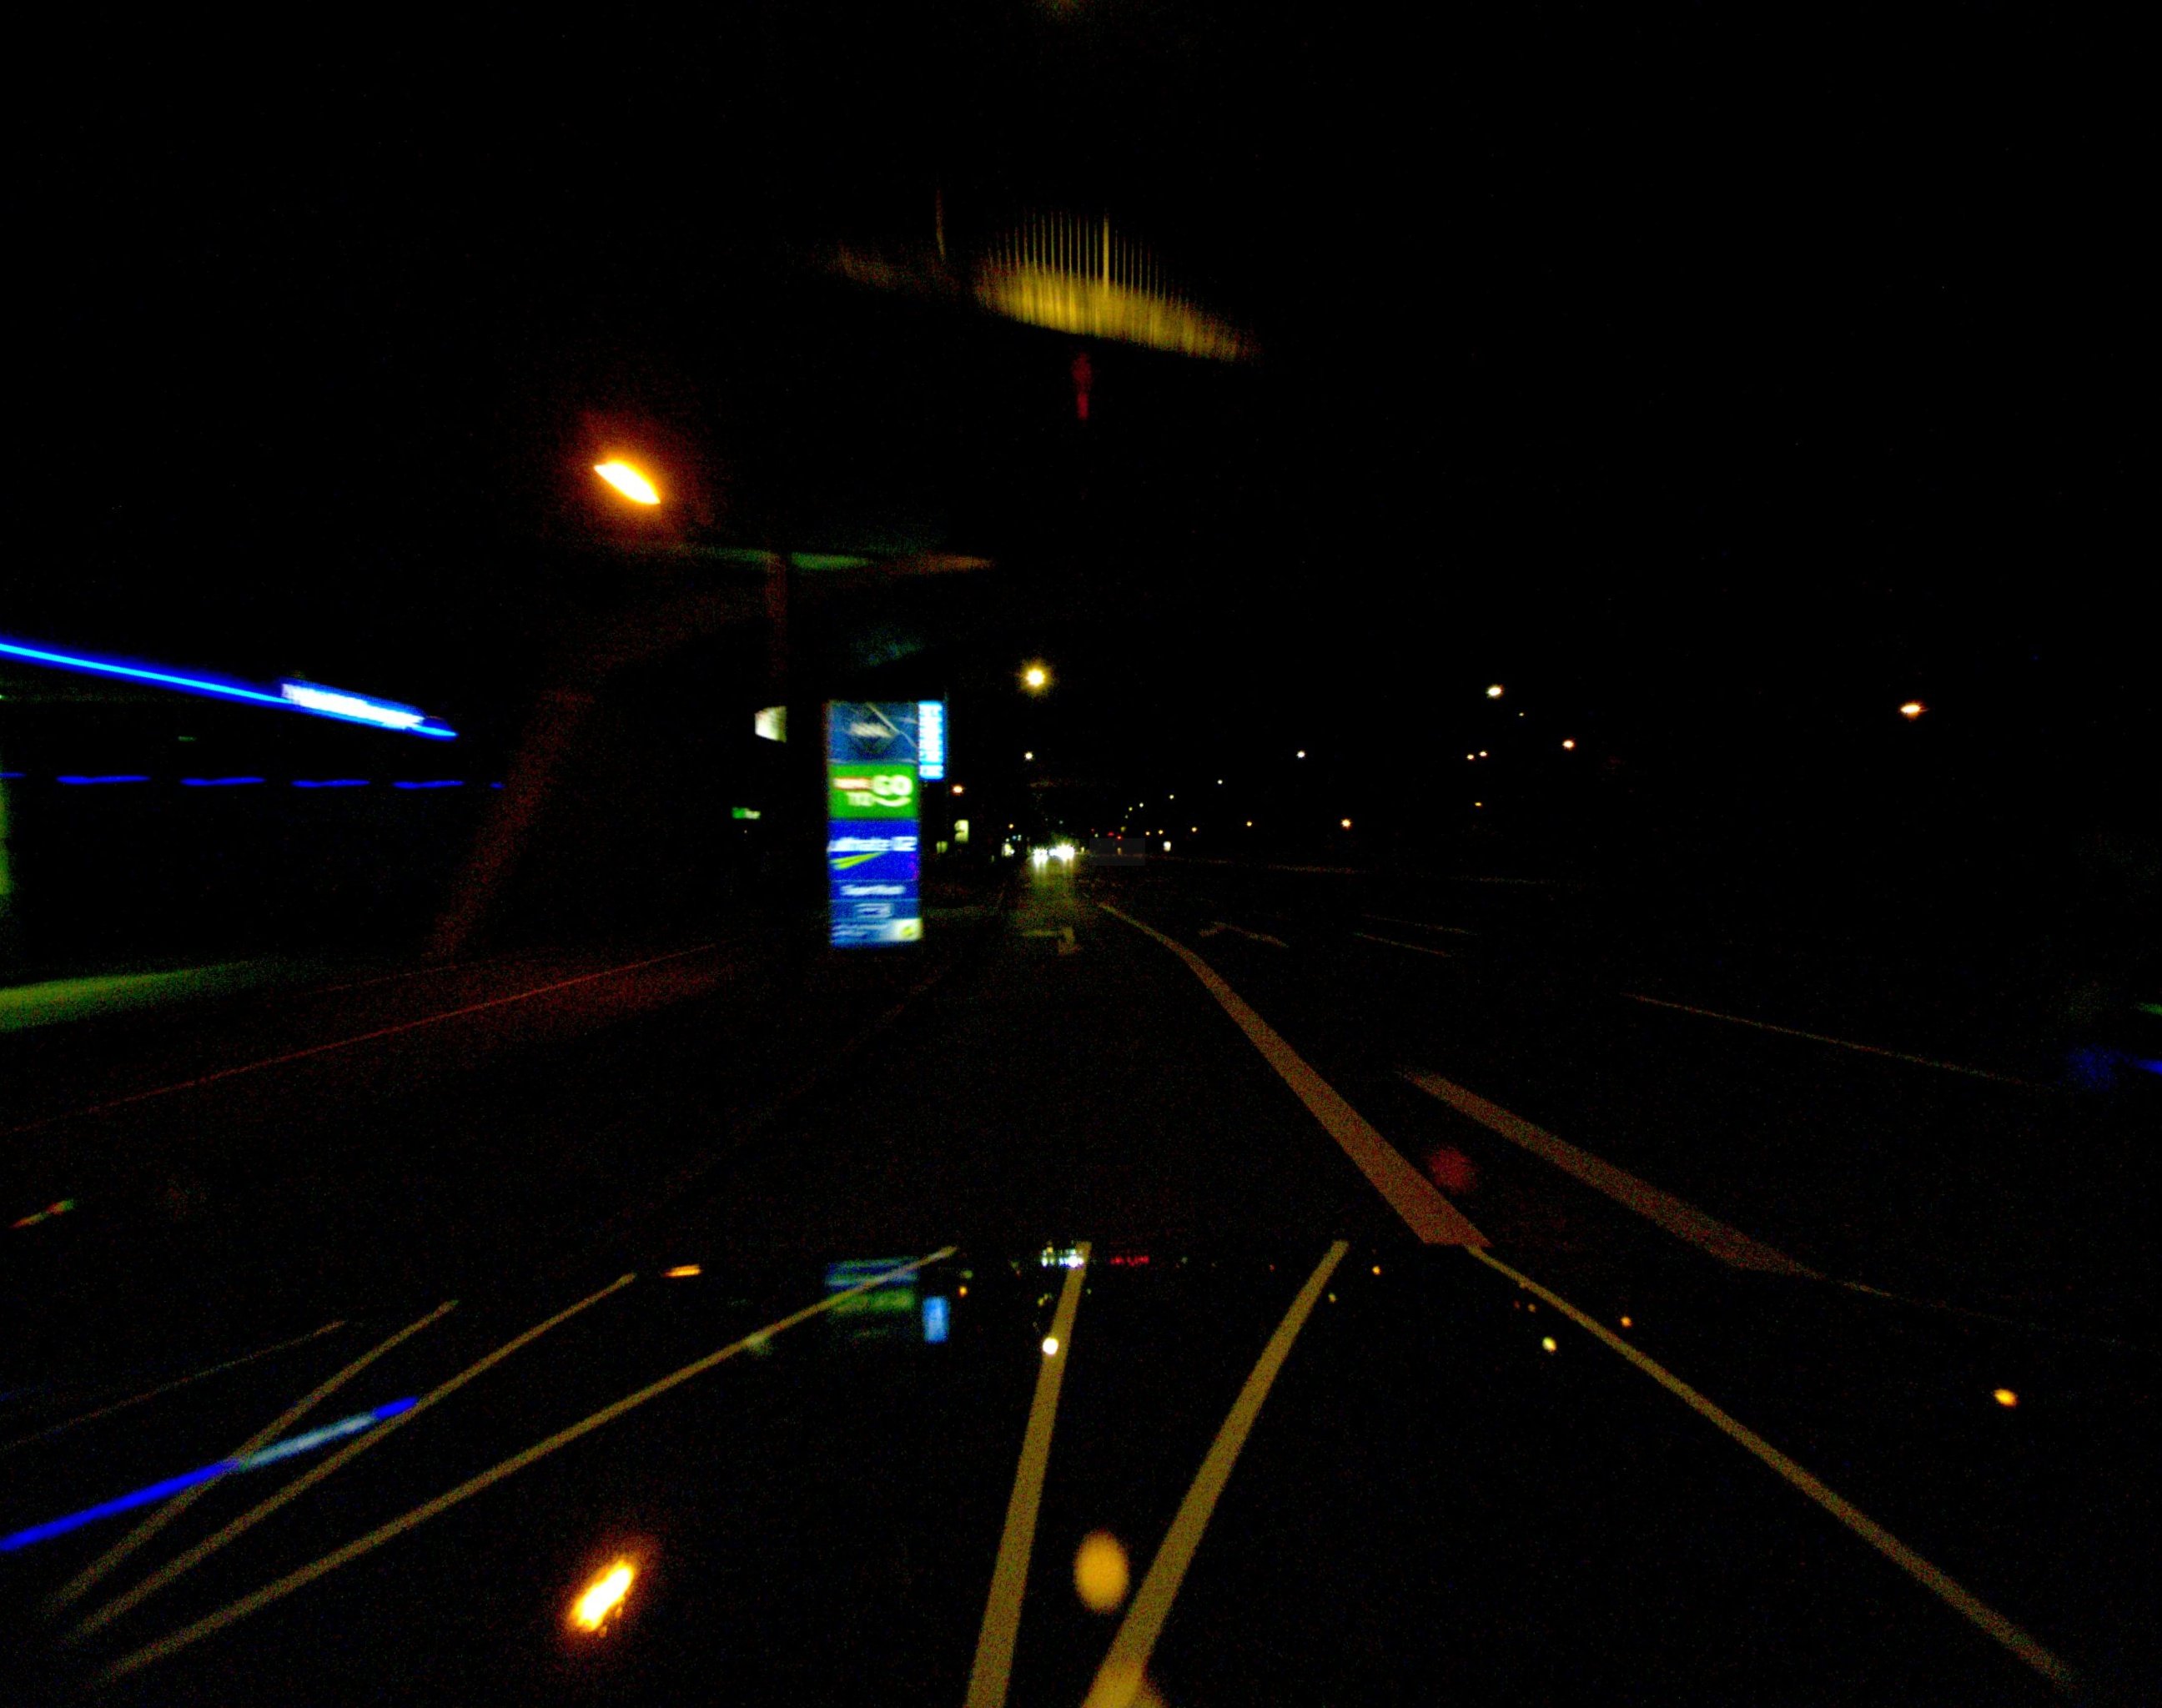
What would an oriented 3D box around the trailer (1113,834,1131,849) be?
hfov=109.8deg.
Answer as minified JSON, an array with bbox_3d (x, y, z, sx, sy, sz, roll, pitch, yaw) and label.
[{"bbox_3d":[11.251,-3.583,210.217,3.706,3.967,8.390,-3,2,-4],"label":"trailer"}]

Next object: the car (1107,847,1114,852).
[{"bbox_3d":[9.235,-1.380,238.863,1.809,1.490,4.082,-1,2,-5],"label":"car"}]

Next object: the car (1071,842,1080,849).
[{"bbox_3d":[-1.307,-2.038,184.124,1.992,1.473,4.201,0,1,-4],"label":"car"}]

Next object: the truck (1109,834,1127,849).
[{"bbox_3d":[10.651,-3.713,219.604,3.691,3.932,10.414,-3,2,-4],"label":"truck"}]

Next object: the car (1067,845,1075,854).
[{"bbox_3d":[-2.380,-1.160,184.042,1.794,2.002,3.999,-2,2,2],"label":"car"}]

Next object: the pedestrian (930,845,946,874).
[{"bbox_3d":[-9.447,0.347,50.104,0.806,1.902,0.793,1,1,5],"label":"pedestrian"}]

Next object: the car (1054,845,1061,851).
[{"bbox_3d":[-6.713,-1.744,215.687,1.992,1.473,4.201,0,1,-4],"label":"car"}]

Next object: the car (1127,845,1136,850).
[{"bbox_3d":[14.577,-1.801,218.238,1.992,1.473,4.201,0,1,-4],"label":"car"}]
